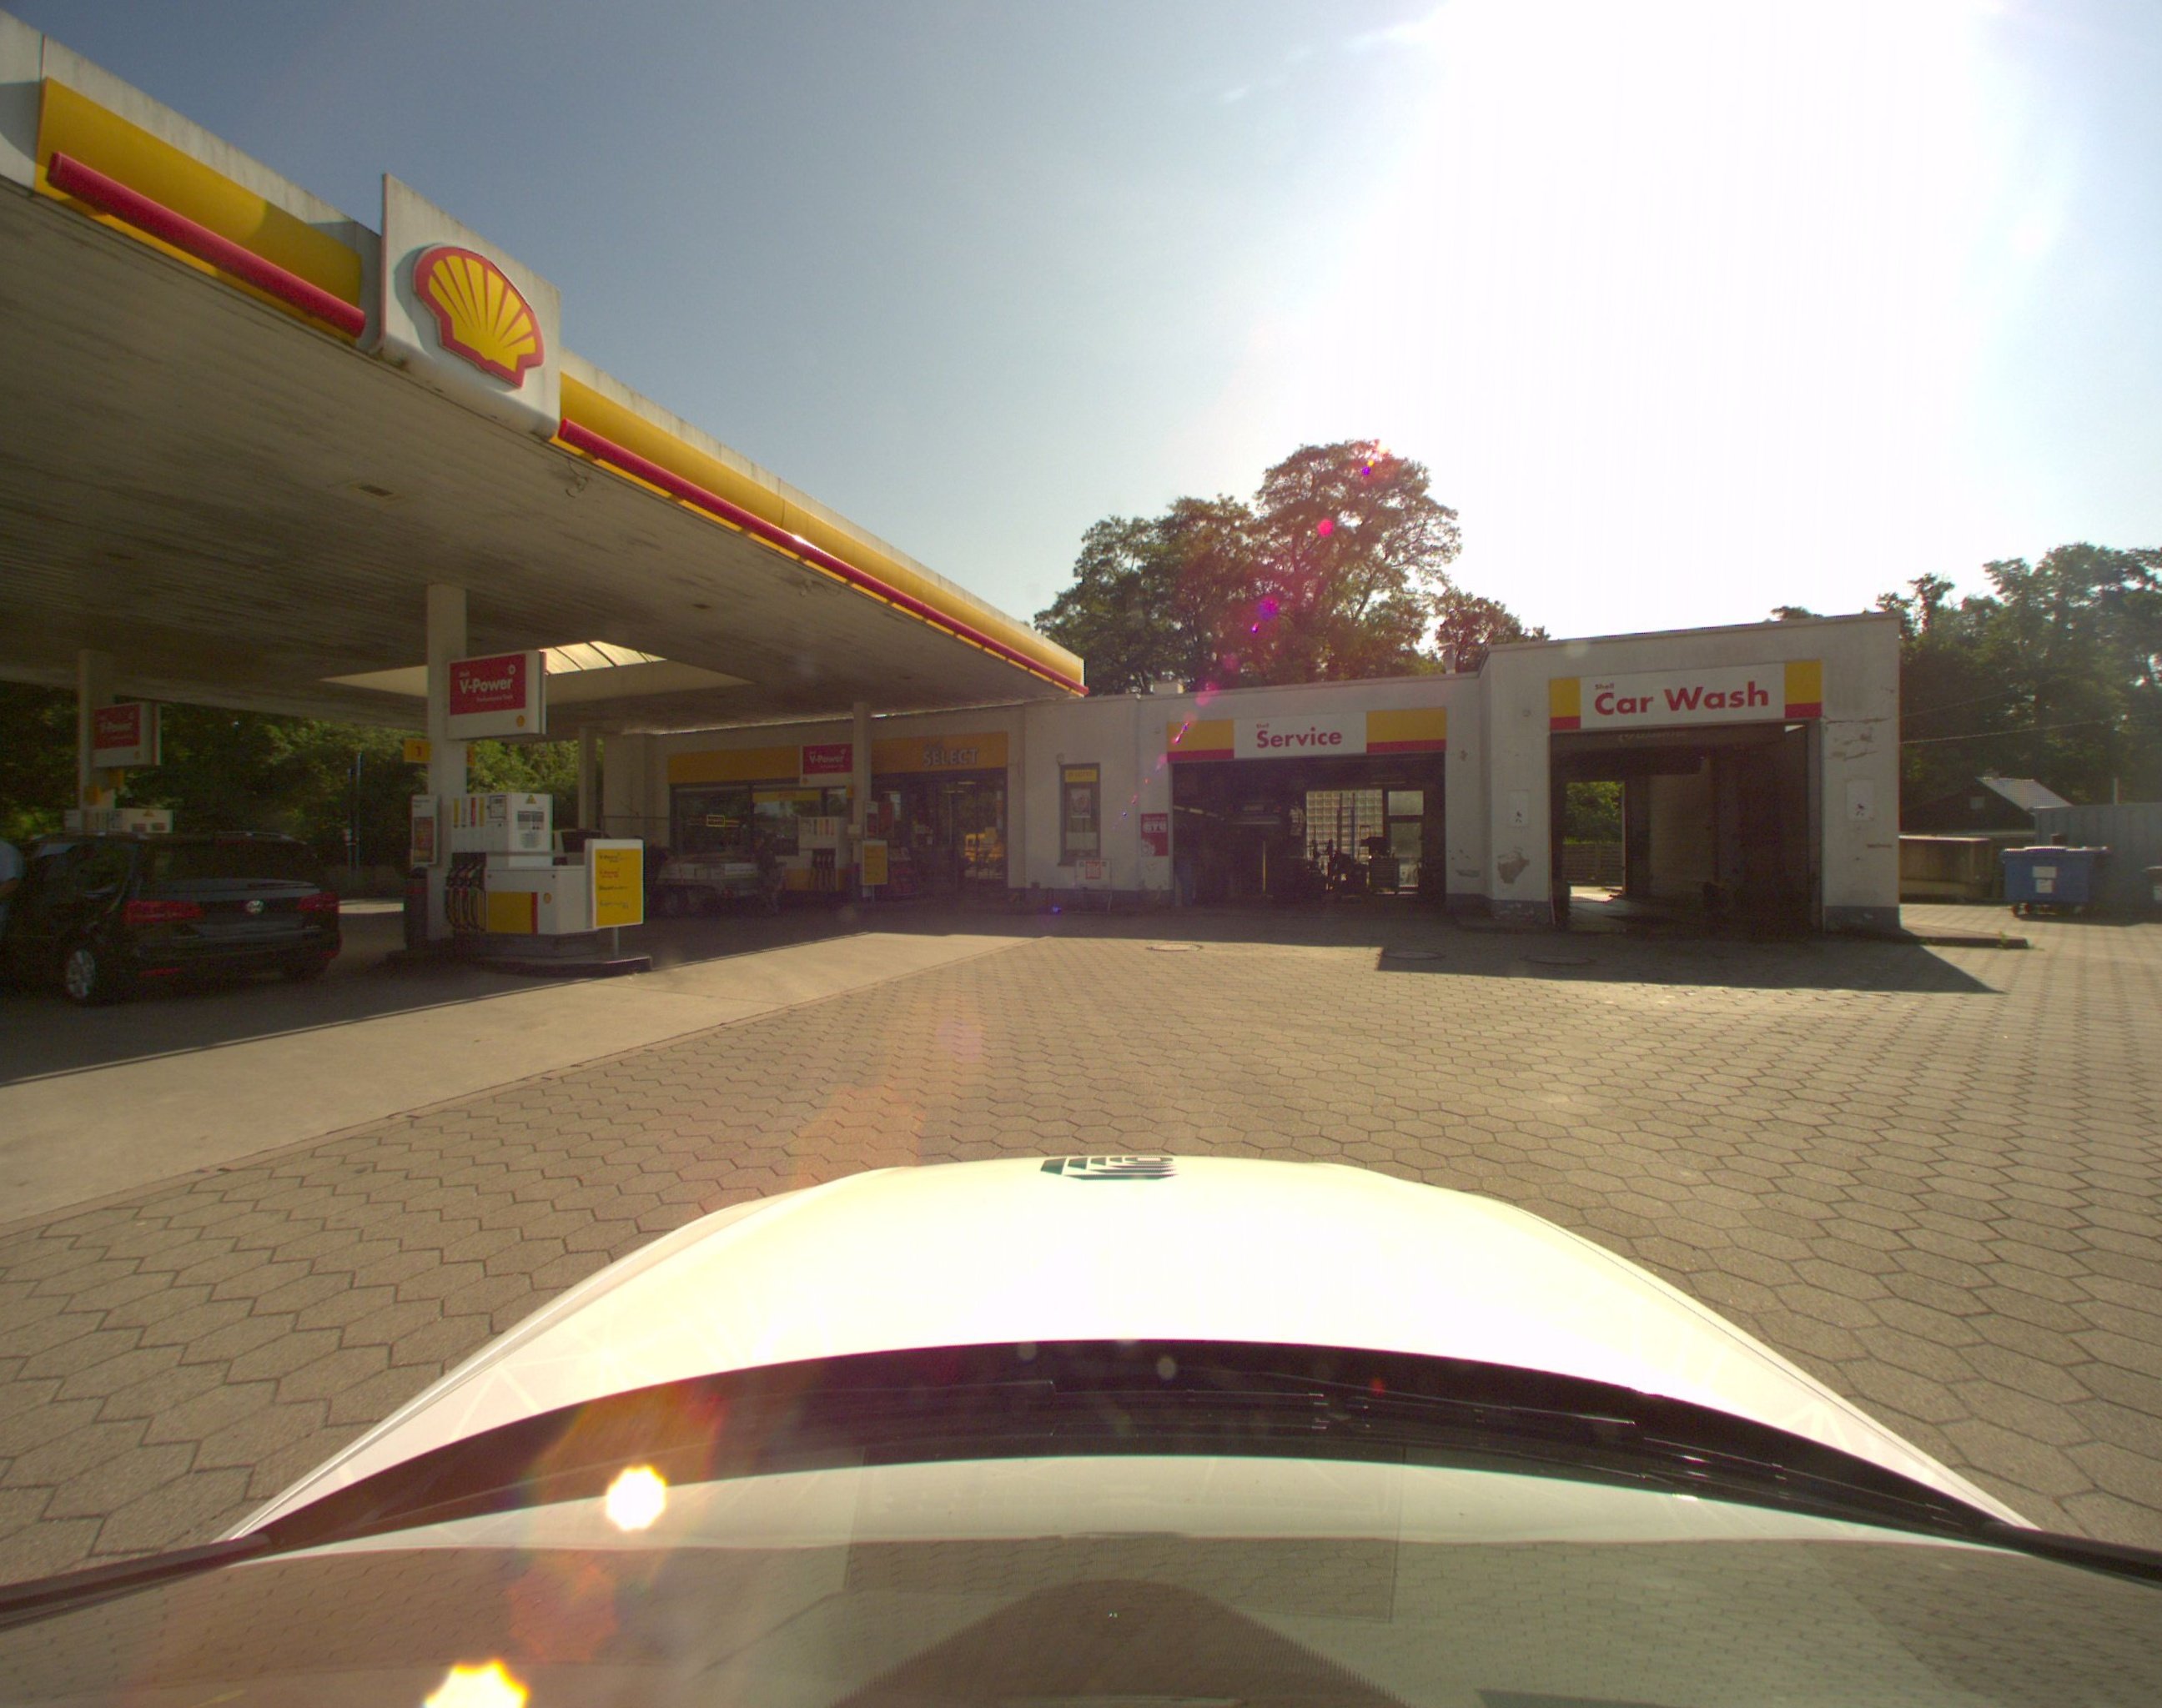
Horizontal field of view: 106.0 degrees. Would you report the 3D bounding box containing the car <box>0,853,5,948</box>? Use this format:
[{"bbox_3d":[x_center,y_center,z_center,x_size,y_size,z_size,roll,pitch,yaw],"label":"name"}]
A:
[{"bbox_3d":[-17.430,0.677,11.537,3.801,1.360,1.814,0,0,24],"label":"car"}]

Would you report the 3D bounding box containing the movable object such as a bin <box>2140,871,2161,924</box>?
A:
[{"bbox_3d":[19.583,0.776,14.586,0.866,0.910,0.490,0,0,-18],"label":"movable object such as a bin"}]

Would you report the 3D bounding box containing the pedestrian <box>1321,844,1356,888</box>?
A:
[{"bbox_3d":[7.121,0.347,22.524,0.856,1.198,0.746,-1,-2,20],"label":"pedestrian"}]

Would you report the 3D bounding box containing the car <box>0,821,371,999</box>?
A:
[{"bbox_3d":[-9.854,0.509,8.686,3.833,1.578,1.774,0,0,19],"label":"car"}]

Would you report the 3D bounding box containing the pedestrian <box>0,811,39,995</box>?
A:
[{"bbox_3d":[-10.552,0.465,7.700,0.802,1.729,0.678,-1,0,24],"label":"pedestrian"}]

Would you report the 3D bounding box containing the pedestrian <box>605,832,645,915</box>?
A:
[{"bbox_3d":[-9.147,0.393,16.337,0.470,1.631,0.503,-1,0,25],"label":"pedestrian"}]

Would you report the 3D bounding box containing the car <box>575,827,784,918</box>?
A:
[{"bbox_3d":[-8.449,0.388,17.155,3.951,1.728,1.844,-1,0,25],"label":"car"}]

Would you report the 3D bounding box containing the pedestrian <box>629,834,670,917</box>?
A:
[{"bbox_3d":[-8.392,0.410,15.842,0.470,1.593,0.503,-1,0,25],"label":"pedestrian"}]

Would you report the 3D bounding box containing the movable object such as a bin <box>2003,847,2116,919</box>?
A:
[{"bbox_3d":[18.972,0.535,15.809,0.851,1.325,1.225,0,0,-25],"label":"movable object such as a bin"}]

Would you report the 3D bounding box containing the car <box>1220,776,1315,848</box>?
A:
[{"bbox_3d":[4.846,-0.978,20.769,1.632,1.486,4.021,-1,-2,23],"label":"car"}]

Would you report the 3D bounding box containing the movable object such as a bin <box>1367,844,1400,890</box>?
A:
[{"bbox_3d":[8.333,0.363,22.418,0.790,1.236,0.547,-1,-2,23],"label":"movable object such as a bin"}]

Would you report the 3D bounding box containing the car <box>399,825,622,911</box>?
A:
[{"bbox_3d":[-13.366,0.311,19.098,4.725,1.838,1.866,0,0,20],"label":"car"}]

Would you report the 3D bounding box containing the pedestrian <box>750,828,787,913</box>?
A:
[{"bbox_3d":[-6.316,0.329,16.470,0.495,1.668,0.478,-1,0,23],"label":"pedestrian"}]
